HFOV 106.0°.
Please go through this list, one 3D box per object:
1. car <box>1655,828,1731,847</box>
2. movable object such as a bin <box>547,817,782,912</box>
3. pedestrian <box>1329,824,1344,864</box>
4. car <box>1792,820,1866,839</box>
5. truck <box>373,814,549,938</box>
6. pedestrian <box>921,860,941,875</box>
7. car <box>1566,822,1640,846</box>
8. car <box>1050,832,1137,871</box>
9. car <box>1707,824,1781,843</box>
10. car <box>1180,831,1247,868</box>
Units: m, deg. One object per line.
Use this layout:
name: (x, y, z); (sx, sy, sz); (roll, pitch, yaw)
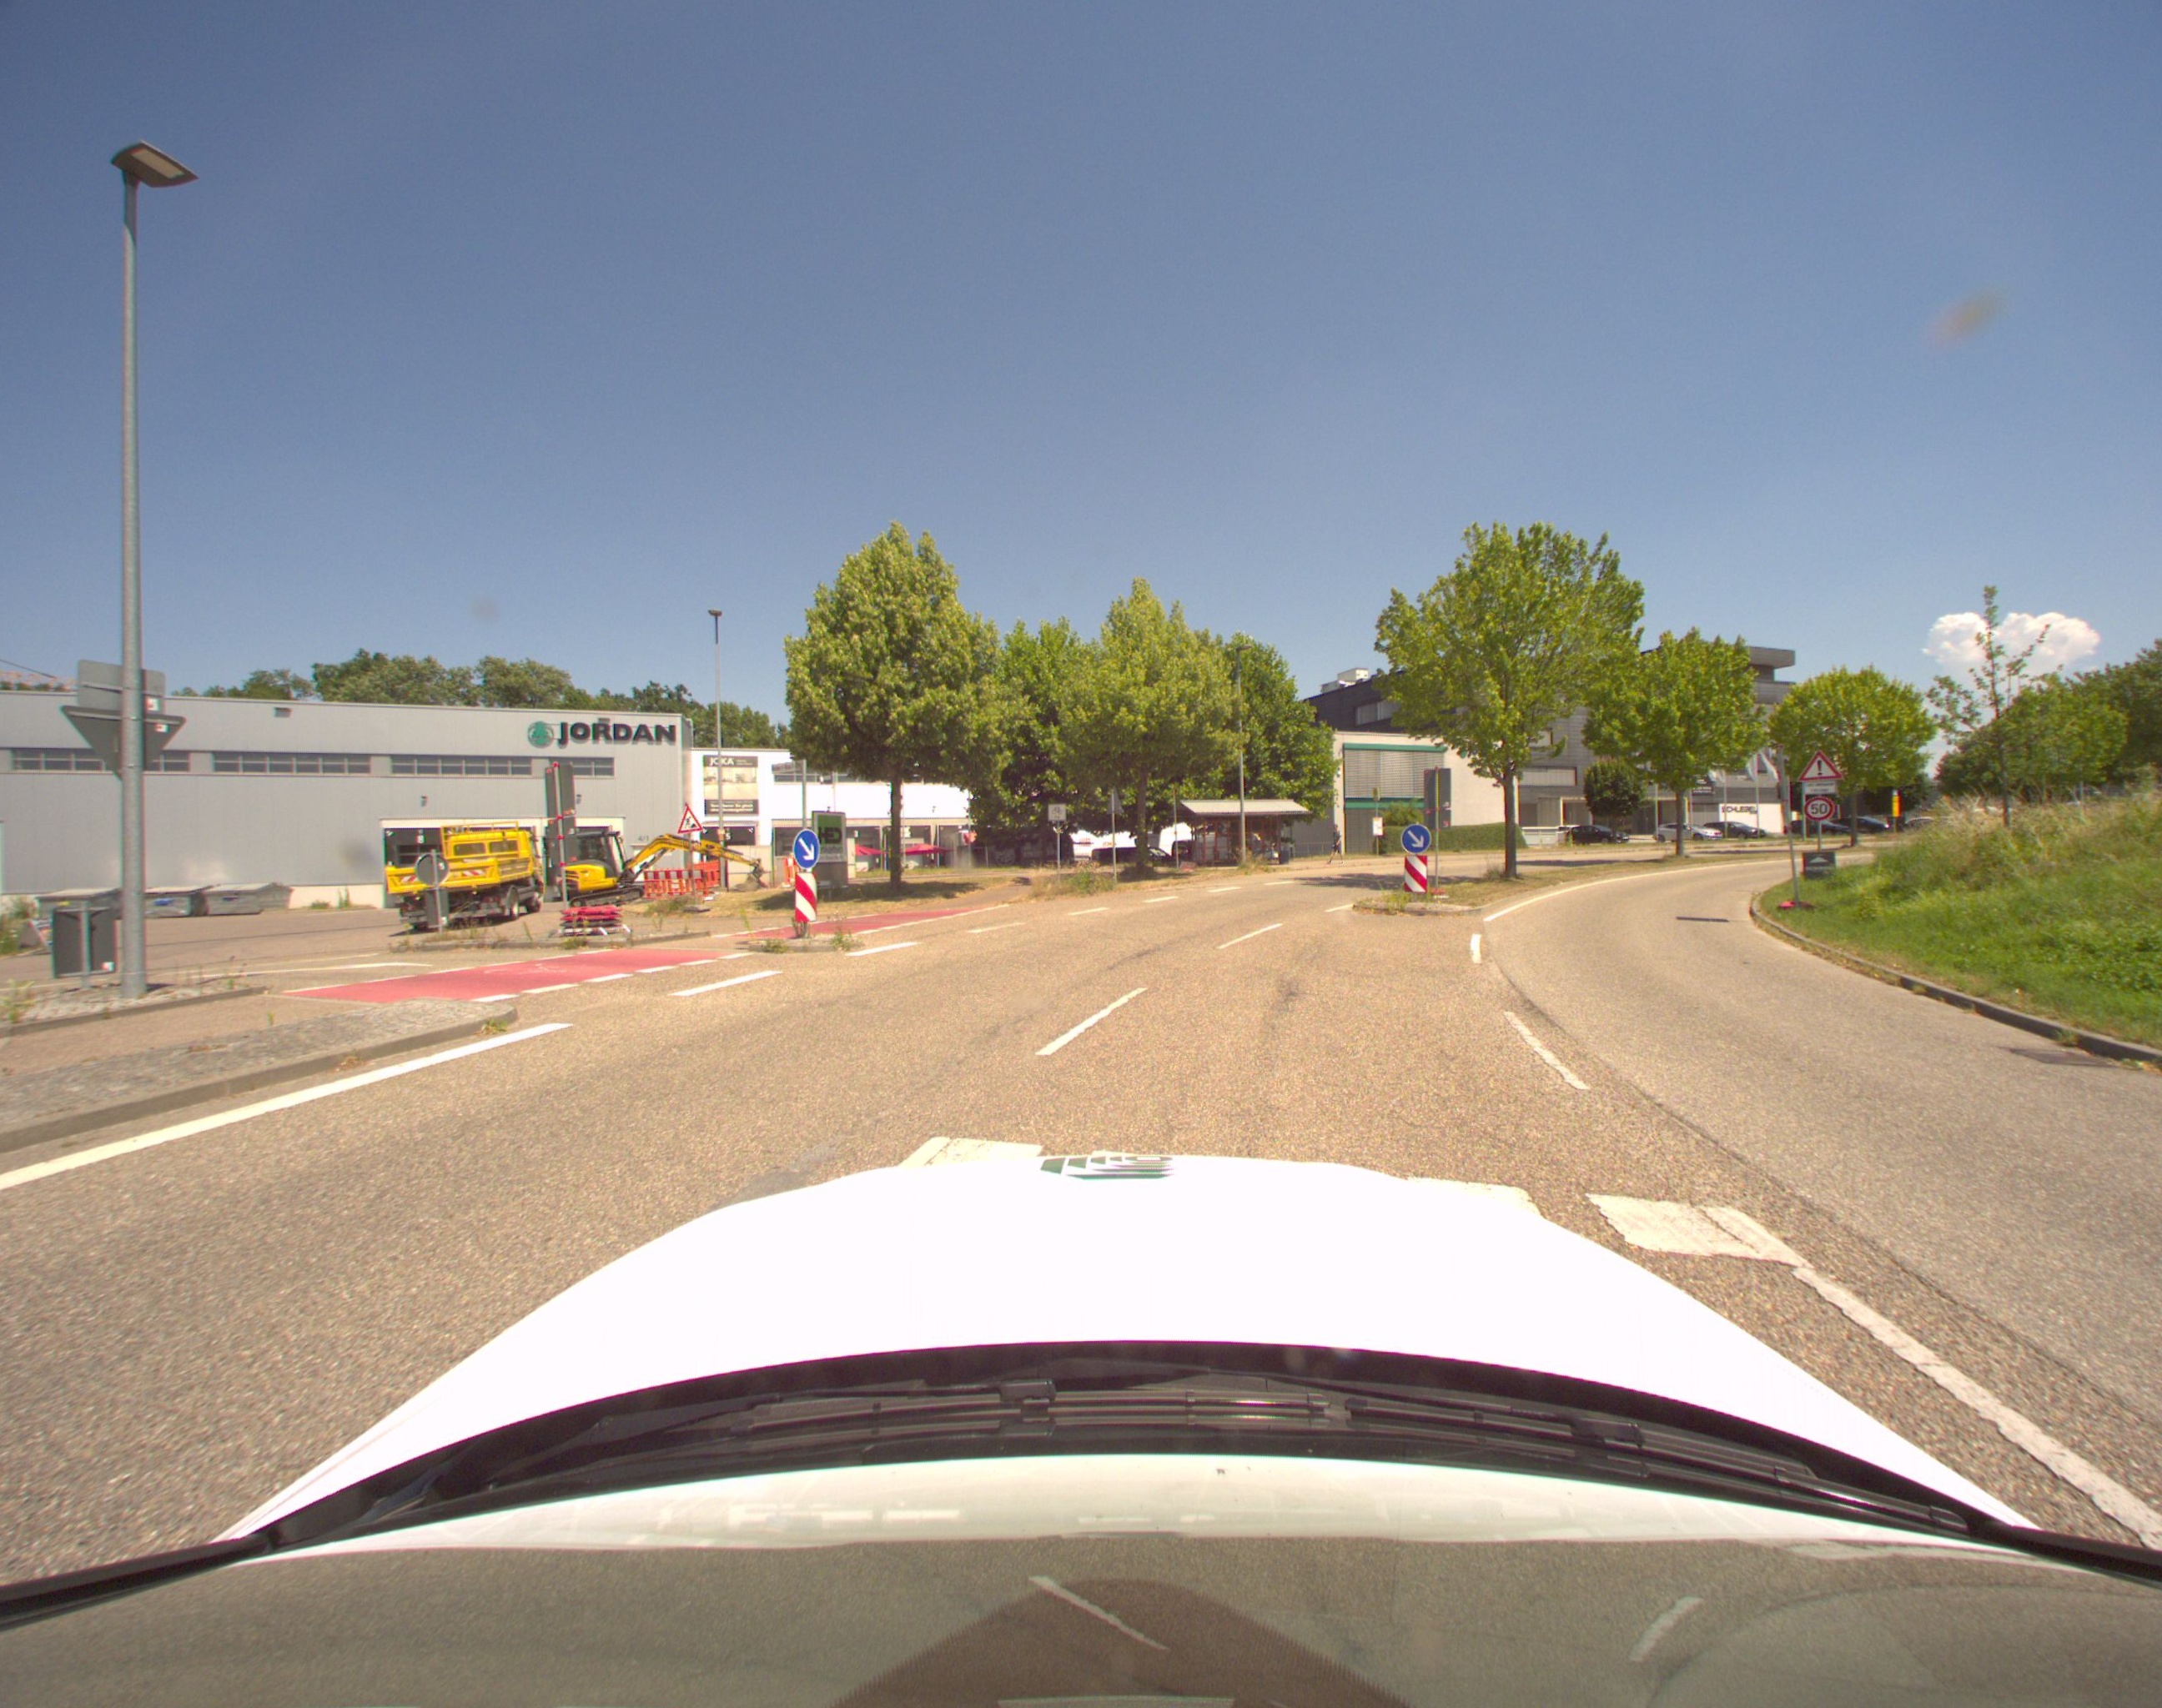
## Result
car: (43.774, -1.148, 58.358); (1.494, 1.183, 4.246); (0, -2, -21)
movable object such as a bin: (-13.668, 0.306, 27.251); (6.569, 2.581, 1.990); (-4, 0, -15)
pedestrian: (10.923, -0.426, 34.807); (0.526, 1.670, 0.580); (0, -2, 8)
car: (57.788, -1.852, 62.992); (1.706, 1.274, 3.865); (-3, 0, -21)
truck: (-18.583, 0.489, 24.927); (2.599, 3.135, 6.375); (-5, 3, -23)
pedestrian: (-7.387, 0.660, 40.148); (0.860, 0.695, 0.408); (-3, 0, 3)
car: (34.873, -1.331, 54.508); (1.706, 1.379, 3.891); (-3, 0, -21)
car: (0.644, -0.127, 41.426); (3.998, 1.728, 1.829); (-3, 0, -18)
car: (48.939, -1.480, 60.178); (1.706, 1.182, 3.865); (-3, 0, -21)
car: (7.679, -0.211, 47.596); (1.554, 2.014, 4.223); (1, -2, -30)
